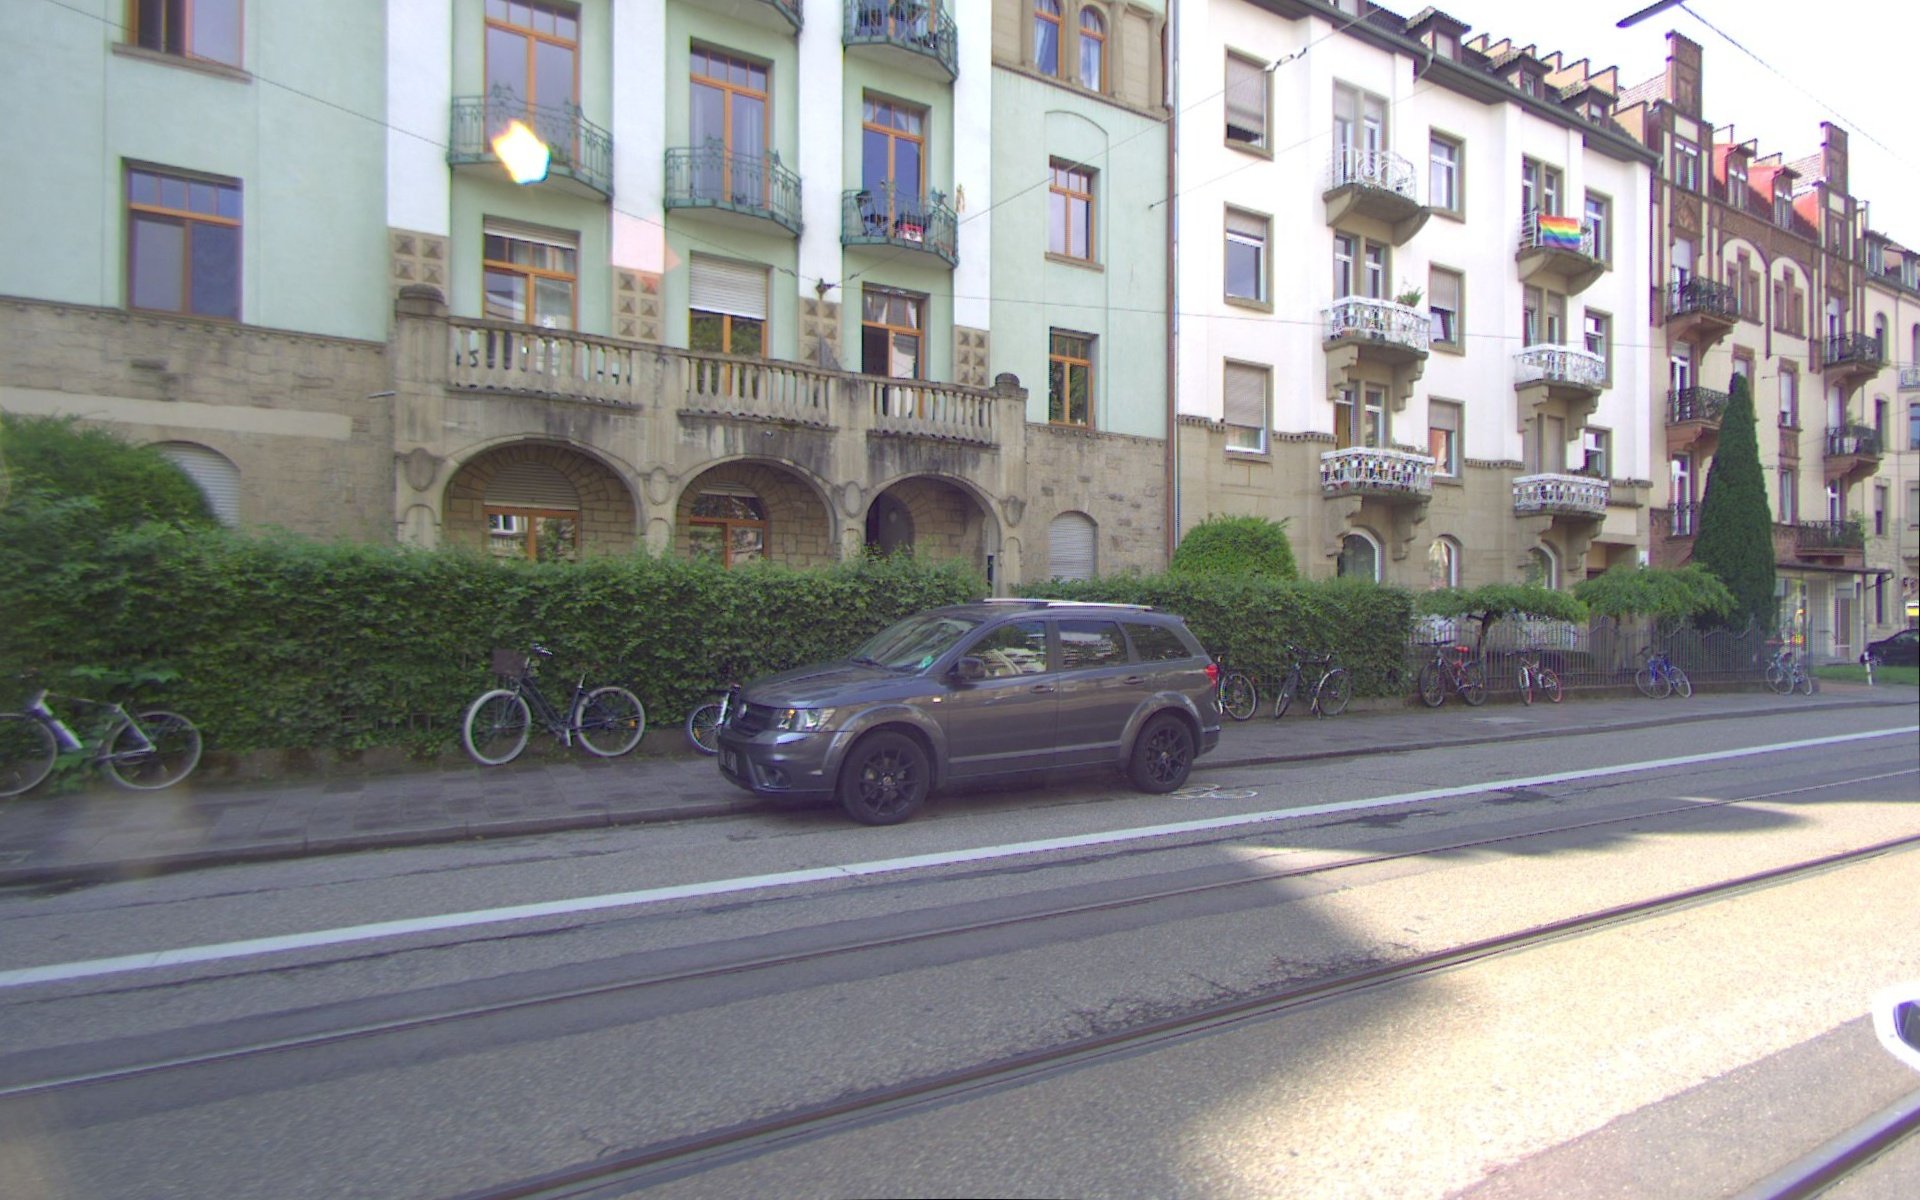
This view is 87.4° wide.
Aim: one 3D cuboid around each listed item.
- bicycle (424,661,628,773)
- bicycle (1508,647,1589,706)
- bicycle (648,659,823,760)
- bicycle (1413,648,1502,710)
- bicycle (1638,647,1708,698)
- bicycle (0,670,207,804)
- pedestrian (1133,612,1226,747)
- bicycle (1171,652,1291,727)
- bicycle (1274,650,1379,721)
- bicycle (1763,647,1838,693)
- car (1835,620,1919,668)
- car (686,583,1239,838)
[{"bbox_3d":[-4.188,1.104,9.758,1.787,0.972,0.381,1,0,-28],"label":"bicycle"},{"bbox_3d":[10.620,1.365,18.111,1.778,0.988,0.381,1,0,-28],"label":"bicycle"},{"bbox_3d":[-2.386,1.141,10.768,1.787,0.972,0.381,1,0,-28],"label":"bicycle"},{"bbox_3d":[8.433,1.320,16.999,1.778,0.972,0.381,1,0,-28],"label":"bicycle"},{"bbox_3d":[14.393,1.452,20.270,1.684,0.972,0.424,1,0,-28],"label":"bicycle"},{"bbox_3d":[-7.155,1.078,8.016,1.787,0.972,0.381,1,0,-28],"label":"bicycle"},{"bbox_3d":[2.727,0.964,12.476,0.870,1.589,0.677,1,1,-27],"label":"pedestrian"},{"bbox_3d":[3.871,1.247,14.290,1.897,0.972,0.381,1,0,-28],"label":"bicycle"},{"bbox_3d":[5.581,1.276,15.259,1.780,0.972,0.449,1,0,-31],"label":"bicycle"},{"bbox_3d":[19.196,1.608,22.937,1.789,0.972,0.510,3,1,-23],"label":"bicycle"},{"bbox_3d":[32.640,1.525,34.729,1.656,1.533,3.226,1,0,-25],"label":"car"},{"bbox_3d":[0.173,0.825,9.086,4.829,1.786,1.775,1,-2,-32],"label":"car"}]
